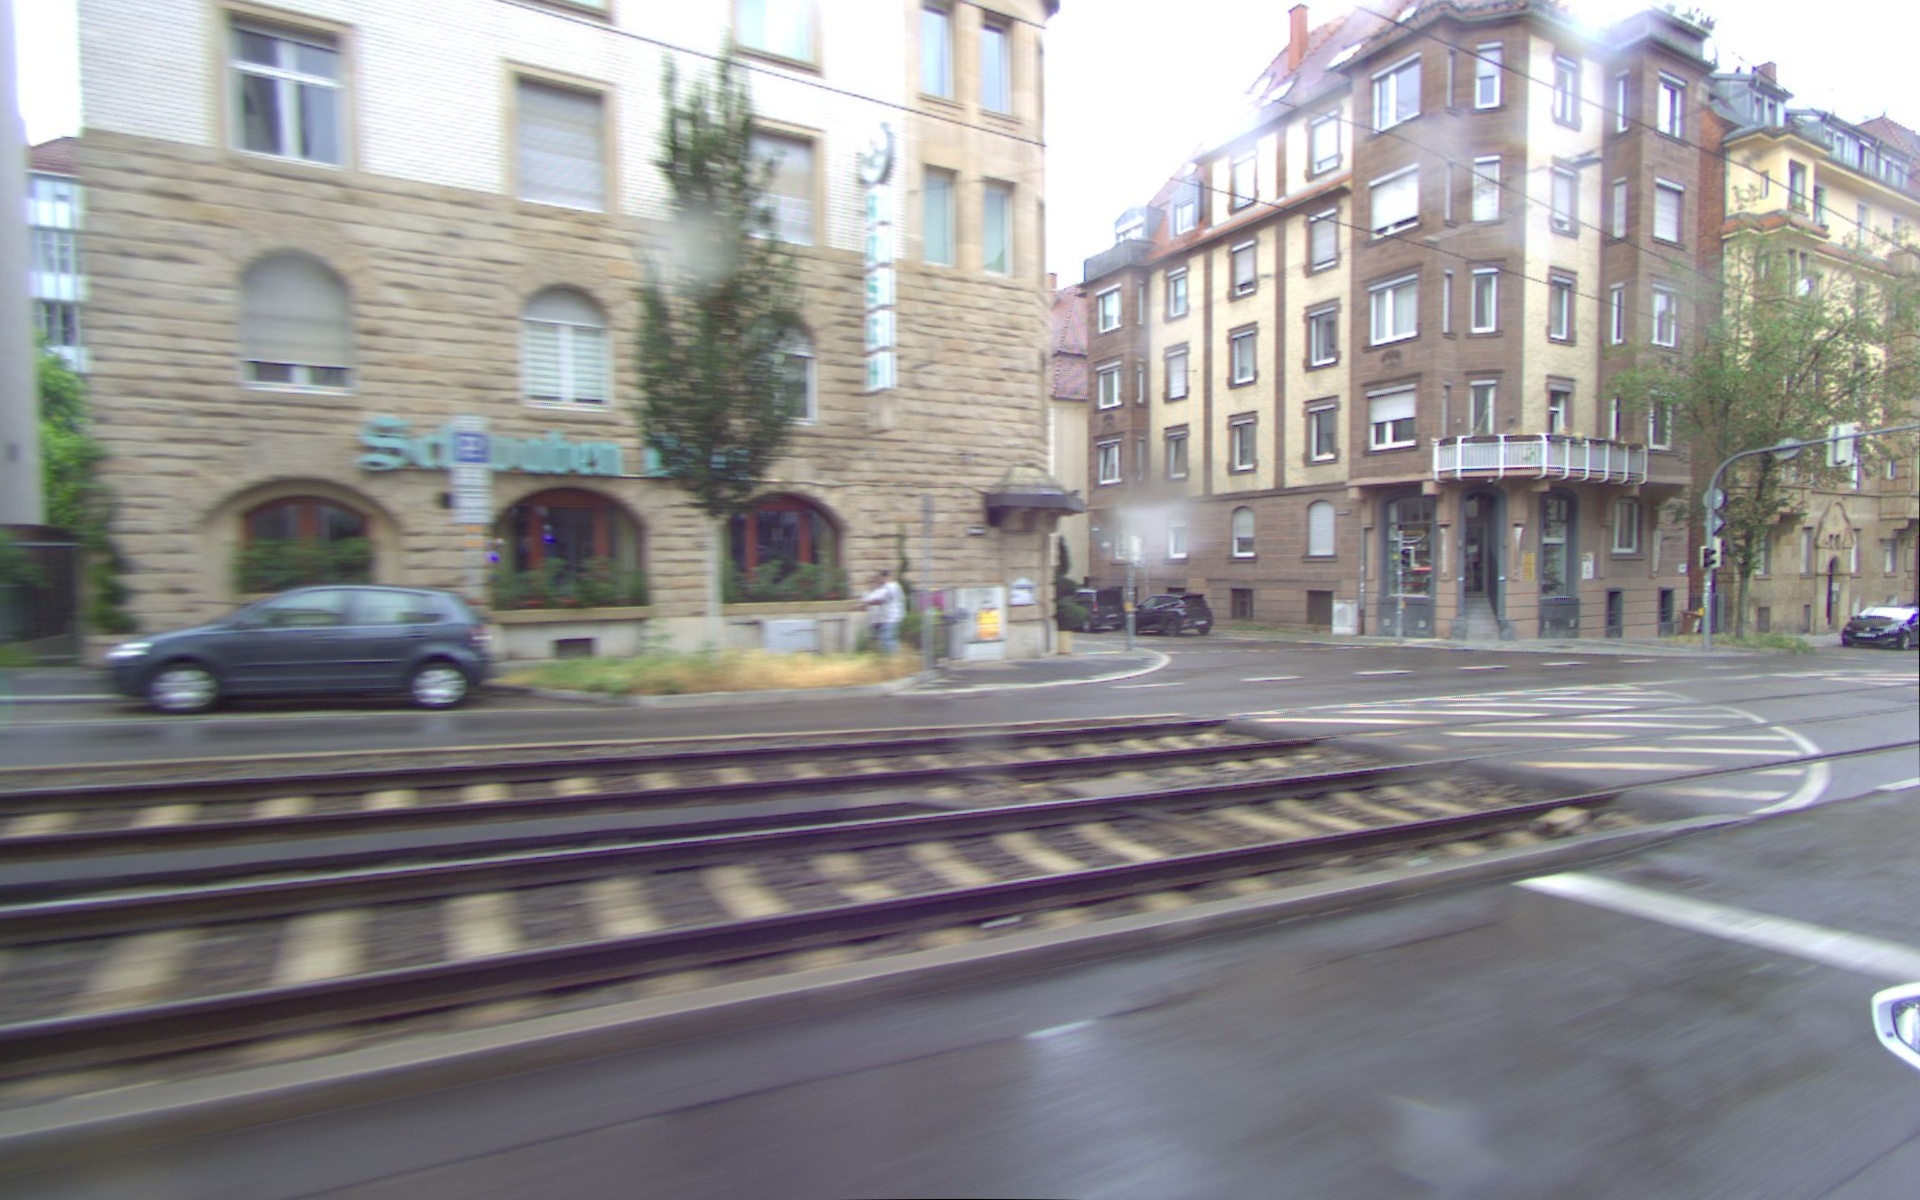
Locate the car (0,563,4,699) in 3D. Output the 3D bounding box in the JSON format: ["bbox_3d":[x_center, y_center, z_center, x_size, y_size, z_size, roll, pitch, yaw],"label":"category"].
[{"bbox_3d":[-11.827,0.358,9.654,3.485,1.518,1.798,1,2,-31],"label":"car"}]

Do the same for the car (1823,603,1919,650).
[{"bbox_3d":[31.775,0.913,34.638,3.951,1.506,1.757,1,0,-29],"label":"car"}]

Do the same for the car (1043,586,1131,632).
[{"bbox_3d":[5.385,0.341,42.945,1.789,1.836,3.971,1,1,-27],"label":"car"}]

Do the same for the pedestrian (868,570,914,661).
[{"bbox_3d":[-1.225,0.276,17.841,0.635,1.591,0.515,2,0,-25],"label":"pedestrian"}]

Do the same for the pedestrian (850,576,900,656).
[{"bbox_3d":[-1.564,0.281,18.434,0.637,1.441,0.751,1,1,-28],"label":"pedestrian"}]

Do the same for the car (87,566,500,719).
[{"bbox_3d":[-7.634,0.448,11.986,3.844,1.573,1.758,1,1,-27],"label":"car"}]

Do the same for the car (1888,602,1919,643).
[{"bbox_3d":[36.193,0.857,36.985,4.209,1.445,1.660,1,1,-28],"label":"car"}]

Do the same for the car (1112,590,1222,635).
[{"bbox_3d":[7.809,0.450,38.271,1.821,1.586,4.192,1,1,-29],"label":"car"}]
